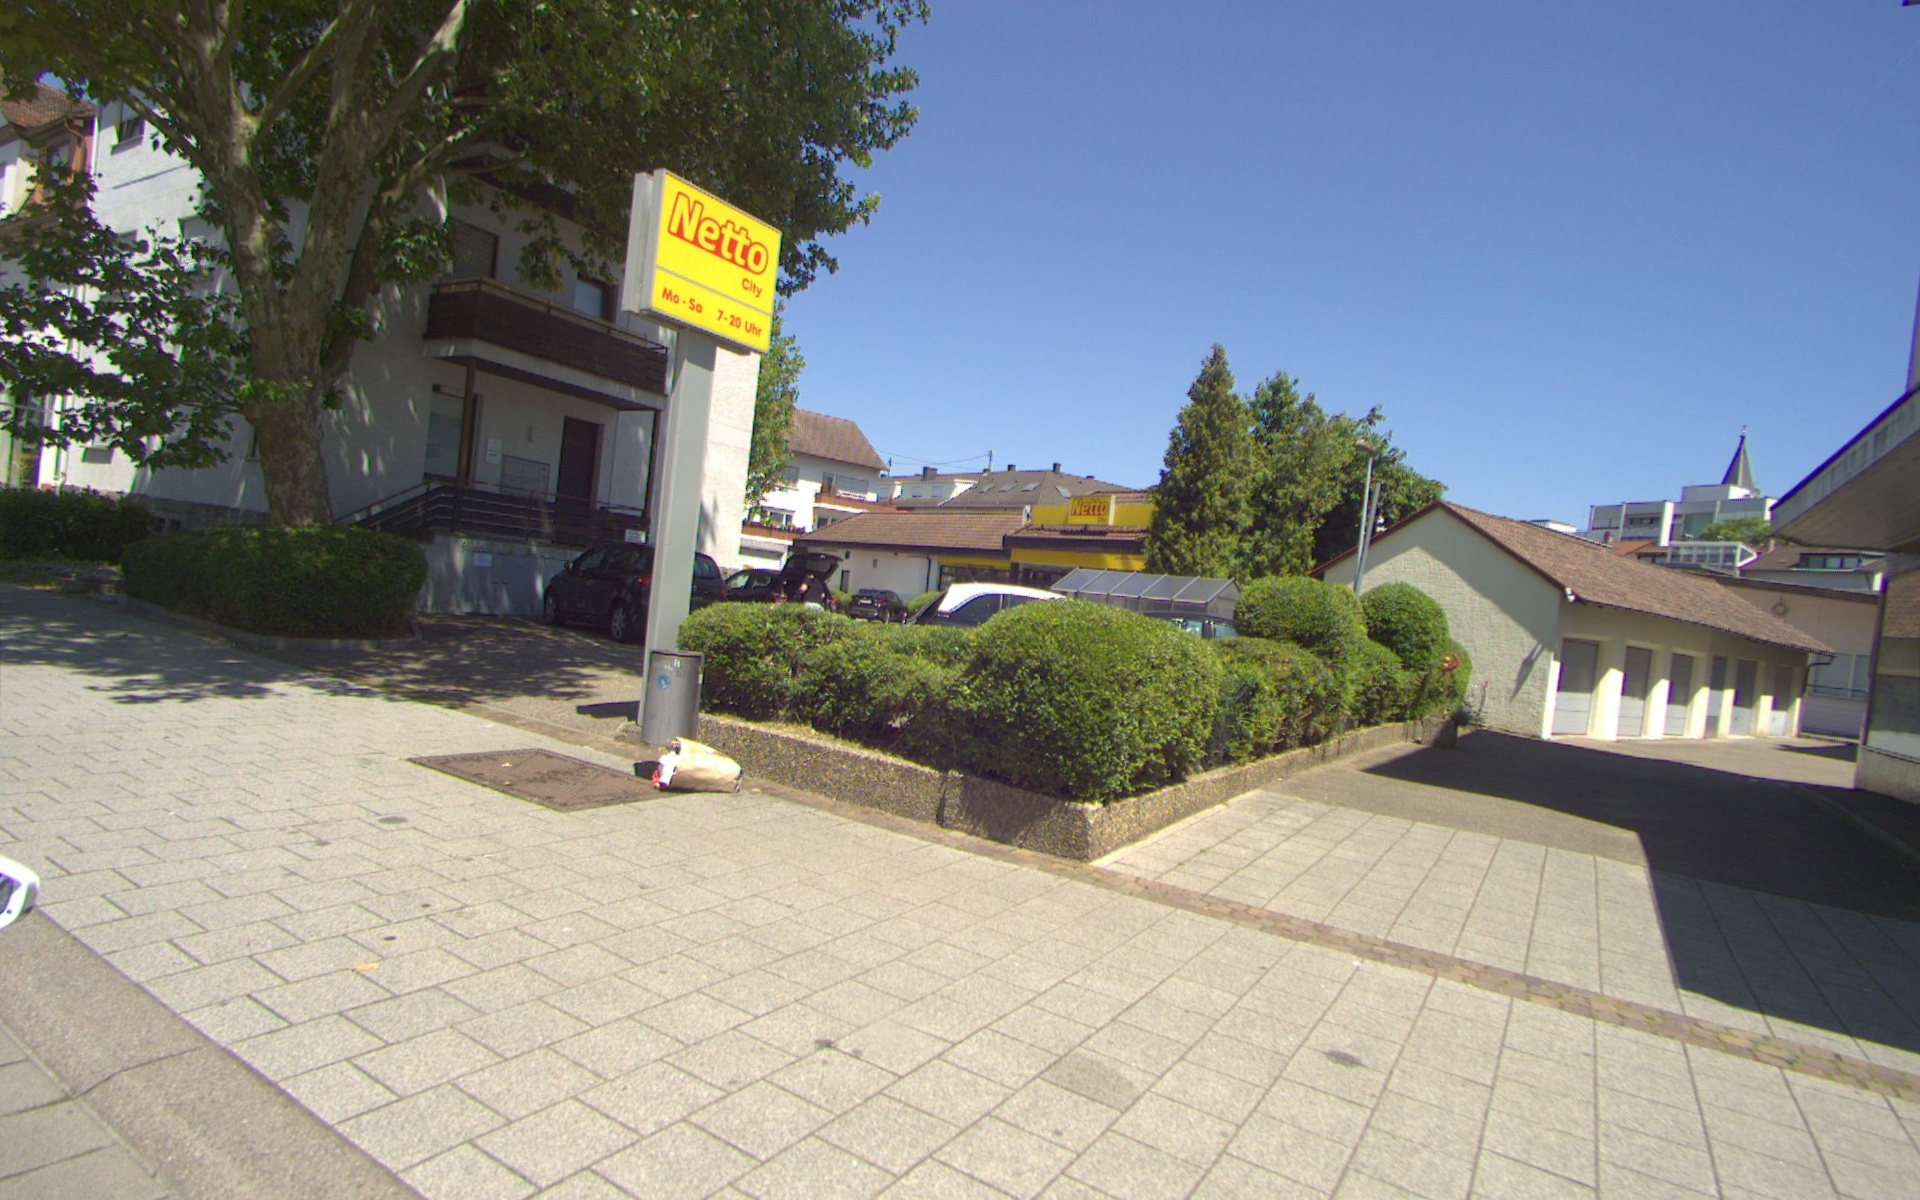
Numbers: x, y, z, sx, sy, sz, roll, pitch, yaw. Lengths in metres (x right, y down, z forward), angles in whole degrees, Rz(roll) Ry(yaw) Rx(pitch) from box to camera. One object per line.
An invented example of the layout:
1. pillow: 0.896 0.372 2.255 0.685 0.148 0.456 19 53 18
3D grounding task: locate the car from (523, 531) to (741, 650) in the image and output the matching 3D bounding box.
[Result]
1. car: -5.559 -0.199 16.795 4.045 1.562 1.680 7 1 44

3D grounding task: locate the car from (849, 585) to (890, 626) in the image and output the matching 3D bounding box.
1. car: -3.940 0.208 44.106 1.610 1.527 3.721 6 0 -4

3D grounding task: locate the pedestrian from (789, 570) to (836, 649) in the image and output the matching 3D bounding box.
1. pedestrian: -2.926 0.191 20.016 0.508 1.487 0.602 7 2 43

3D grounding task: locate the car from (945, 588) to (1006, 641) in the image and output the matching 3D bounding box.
1. car: 0.652 0.592 39.095 1.556 1.800 3.635 6 0 12

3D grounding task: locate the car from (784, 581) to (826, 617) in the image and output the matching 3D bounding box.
1. car: -7.524 -0.051 48.964 1.610 1.527 3.721 6 0 -4

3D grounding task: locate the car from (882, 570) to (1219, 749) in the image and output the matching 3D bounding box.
1. car: 0.968 0.625 11.459 3.398 1.519 1.737 6 1 2

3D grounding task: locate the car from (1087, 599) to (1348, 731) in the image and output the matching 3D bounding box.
1. car: 3.904 0.959 15.521 3.561 1.518 1.739 6 -1 14

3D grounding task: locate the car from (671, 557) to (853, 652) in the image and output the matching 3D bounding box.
1. car: -4.199 0.066 21.052 3.706 1.556 1.832 7 1 44
